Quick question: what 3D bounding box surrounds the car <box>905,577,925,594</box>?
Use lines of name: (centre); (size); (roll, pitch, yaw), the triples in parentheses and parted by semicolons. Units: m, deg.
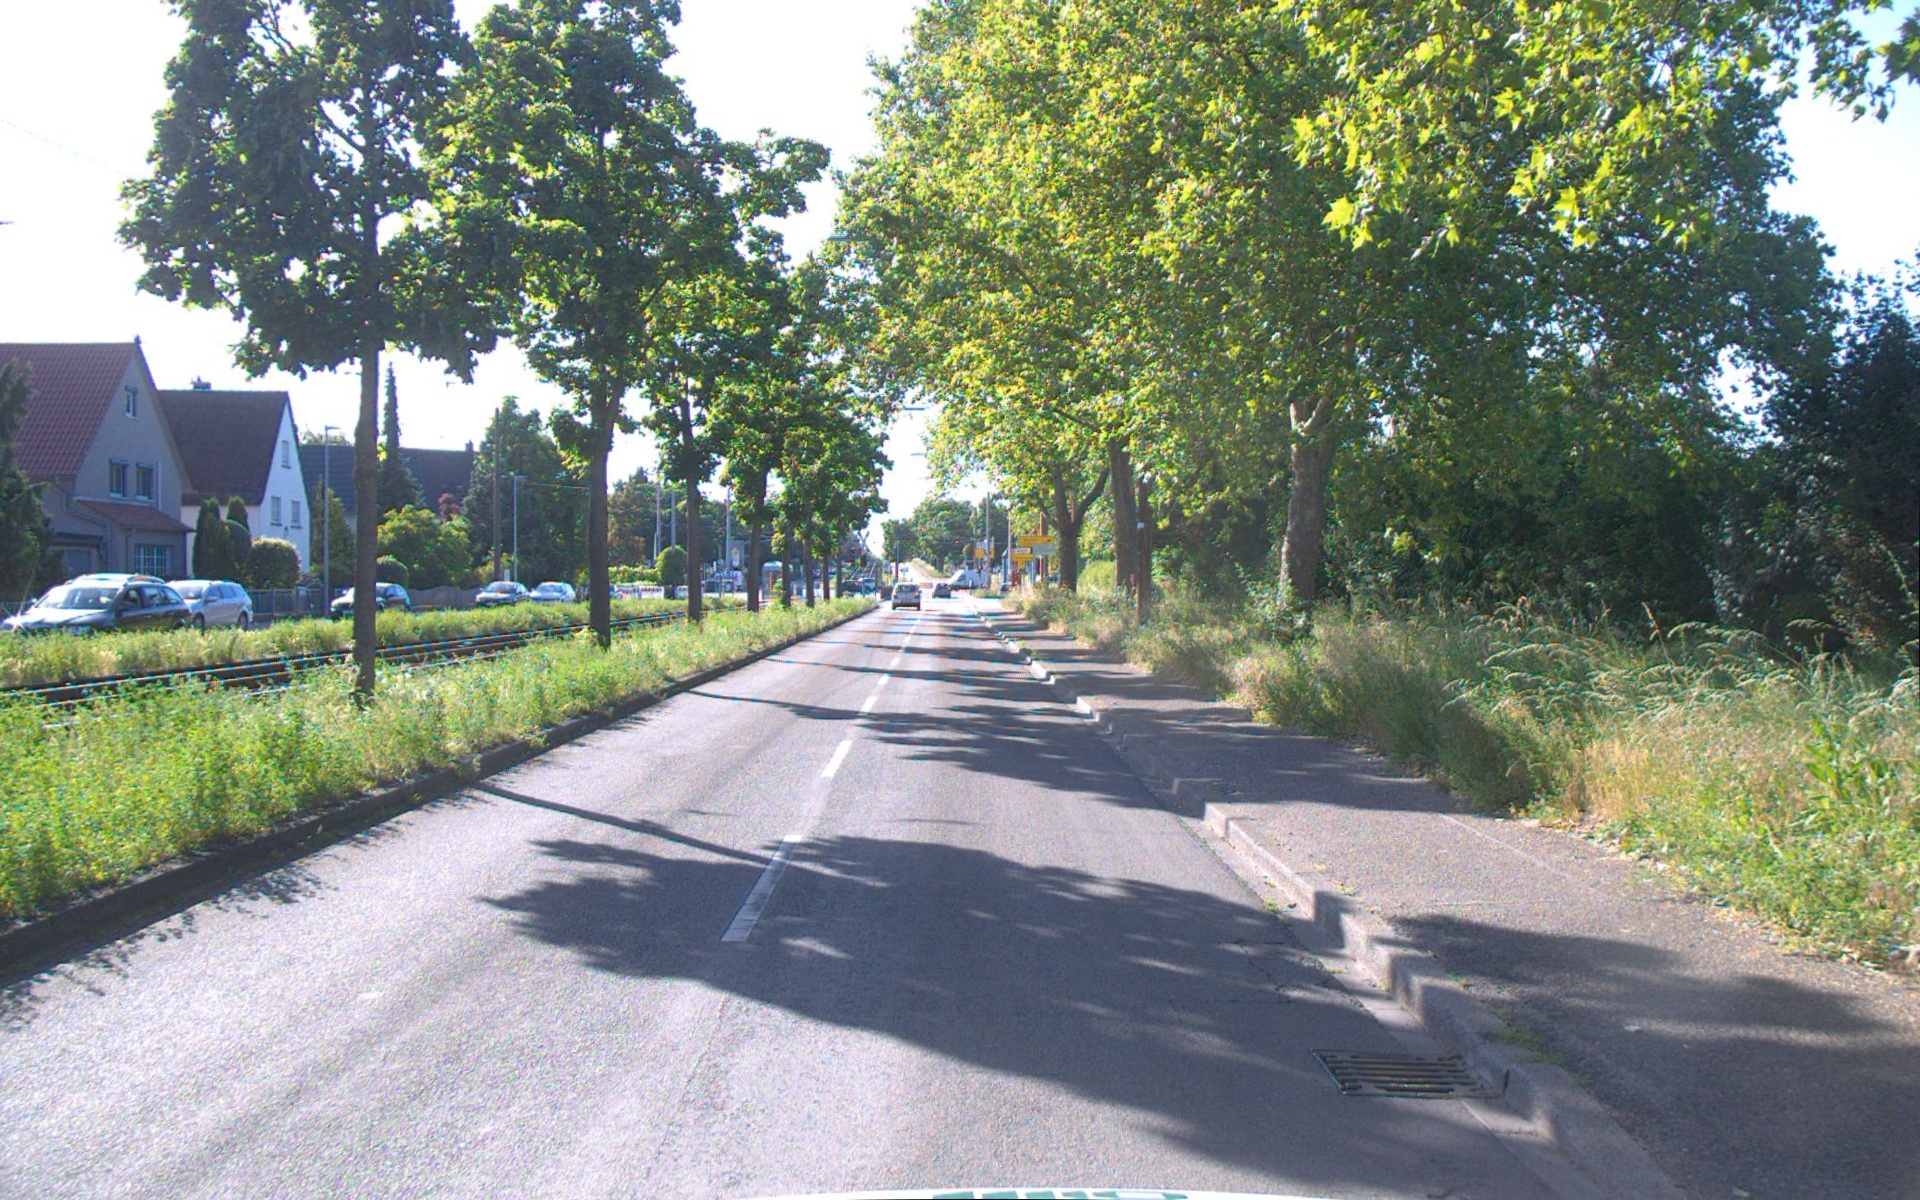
car: (-4.437, -1.471, 164.094); (1.953, 1.631, 4.472); (1, 1, -1)

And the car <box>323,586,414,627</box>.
car: (-21.439, 0.197, 60.113); (1.822, 1.393, 4.227); (1, 1, -1)

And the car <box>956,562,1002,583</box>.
car: (2.279, -3.255, 197.313); (5.082, 2.315, 1.985); (1, 0, -25)

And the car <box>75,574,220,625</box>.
car: (-26.822, -0.030, 54.694); (3.838, 1.477, 1.888); (2, 2, -1)

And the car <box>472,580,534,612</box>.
car: (-21.628, -0.208, 78.466); (1.822, 1.438, 4.157); (1, 1, -1)

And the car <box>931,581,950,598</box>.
car: (-1.868, -0.997, 158.920); (1.755, 1.586, 4.227); (1, 1, -1)

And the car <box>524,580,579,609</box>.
car: (-21.782, -0.314, 88.342); (1.822, 1.456, 4.461); (1, 1, -1)

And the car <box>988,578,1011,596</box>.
car: (3.791, -1.271, 158.880); (1.953, 1.631, 4.472); (1, 1, -1)

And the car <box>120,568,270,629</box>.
car: (-21.220, -0.055, 46.116); (1.953, 1.572, 4.780); (1, 1, 0)

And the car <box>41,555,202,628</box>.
car: (-20.812, -0.215, 41.272); (1.712, 1.679, 4.554); (1, 1, -1)

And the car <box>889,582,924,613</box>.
car: (-2.941, -0.165, 91.083); (1.822, 1.629, 4.227); (1, 1, -1)

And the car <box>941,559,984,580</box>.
car: (0.365, -3.787, 206.368); (5.195, 2.395, 1.845); (1, 0, -33)

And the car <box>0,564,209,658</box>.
car: (-15.914, 0.168, 30.867); (1.627, 1.579, 4.810); (1, 1, -1)

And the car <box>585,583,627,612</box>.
car: (-22.140, -0.164, 103.499); (1.742, 1.737, 4.227); (1, 1, -1)
